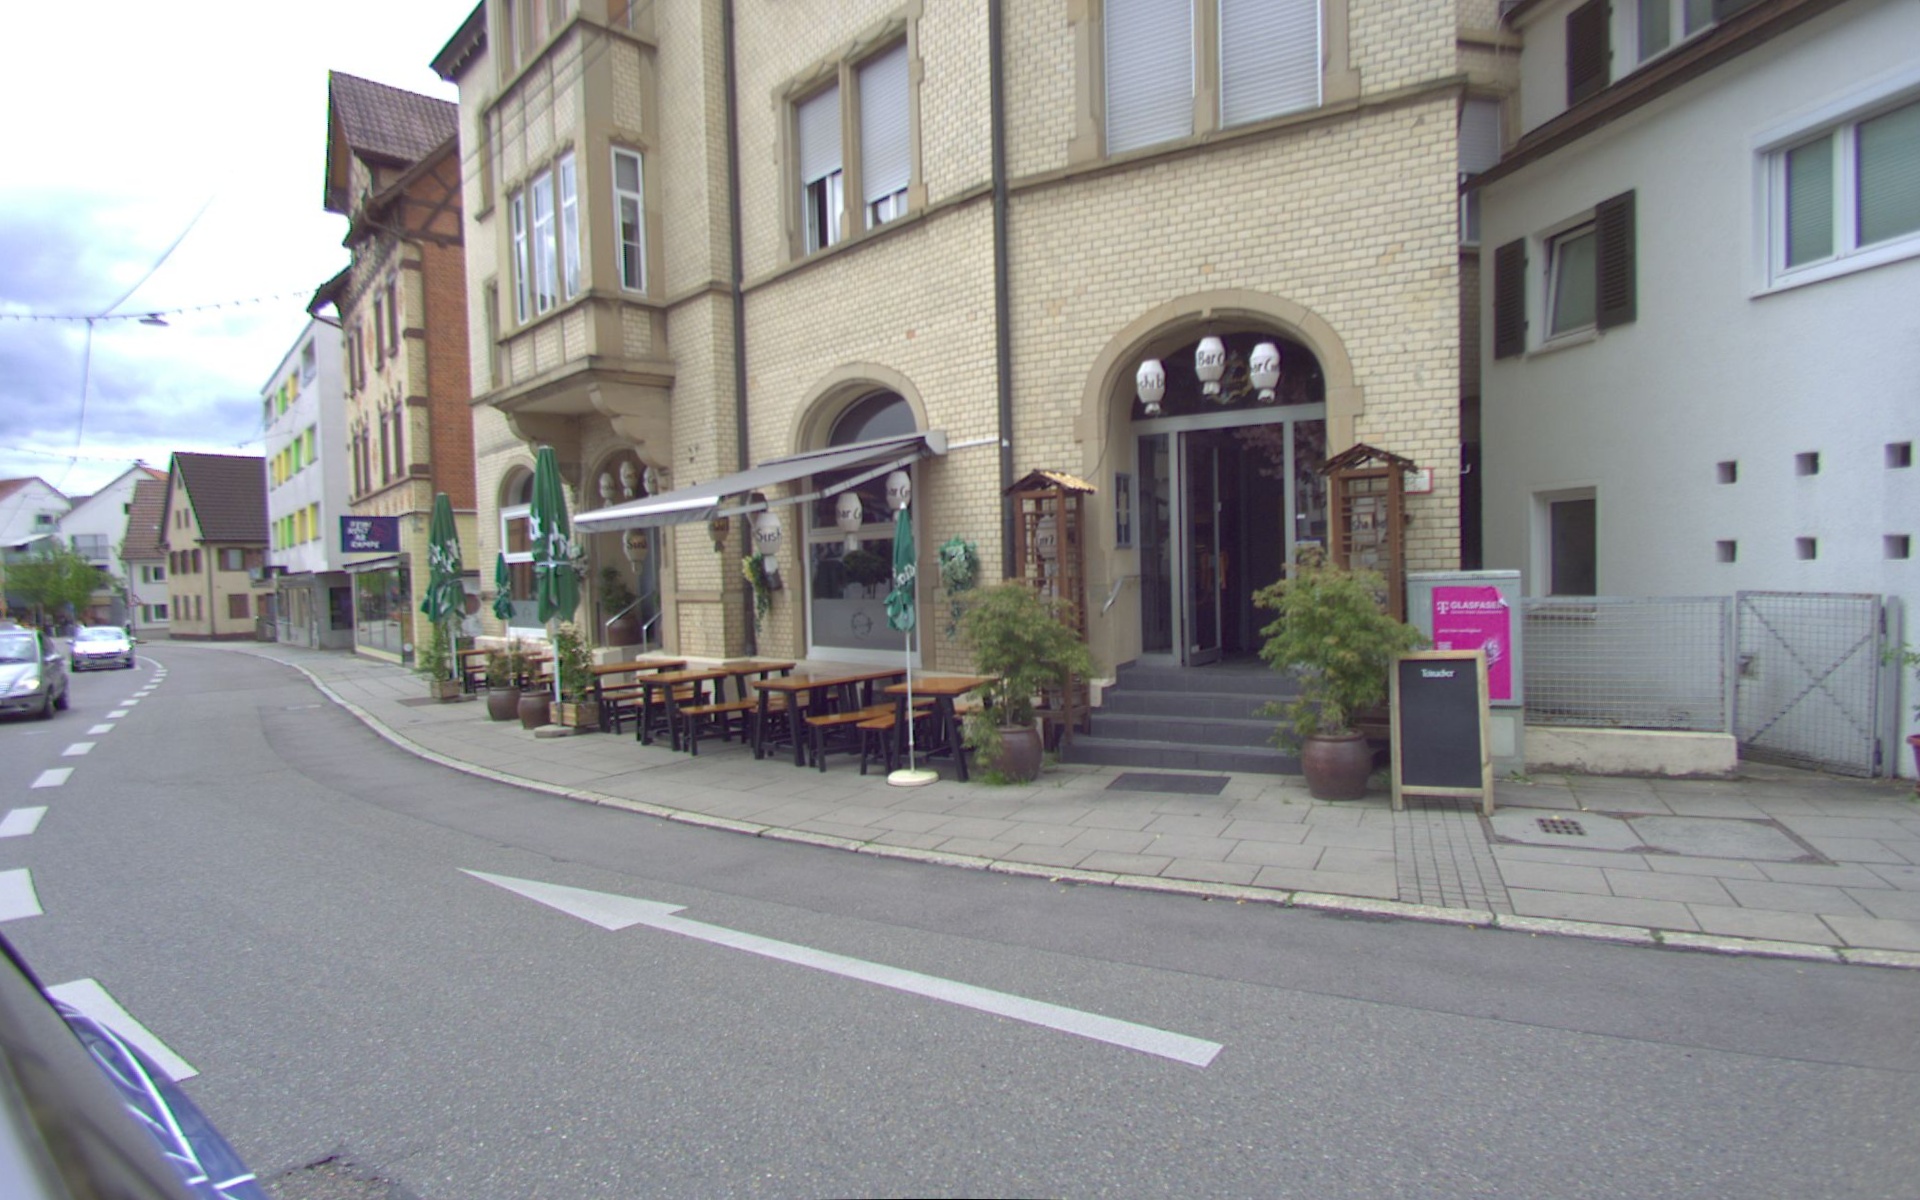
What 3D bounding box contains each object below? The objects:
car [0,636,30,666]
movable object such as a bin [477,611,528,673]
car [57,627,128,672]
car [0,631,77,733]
[{"bbox_3d":[-59.914,3.199,63.613,1.973,1.639,4.003,-4,3,-44],"label":"car"},{"bbox_3d":[-11.492,1.039,25.419,0.930,1.388,0.825,-6,6,-37],"label":"movable object such as a bin"},{"bbox_3d":[-29.840,1.685,34.859,1.729,1.365,4.006,-3,0,-40],"label":"car"},{"bbox_3d":[-17.194,1.422,18.097,1.866,1.639,4.008,-2,0,-38],"label":"car"}]
